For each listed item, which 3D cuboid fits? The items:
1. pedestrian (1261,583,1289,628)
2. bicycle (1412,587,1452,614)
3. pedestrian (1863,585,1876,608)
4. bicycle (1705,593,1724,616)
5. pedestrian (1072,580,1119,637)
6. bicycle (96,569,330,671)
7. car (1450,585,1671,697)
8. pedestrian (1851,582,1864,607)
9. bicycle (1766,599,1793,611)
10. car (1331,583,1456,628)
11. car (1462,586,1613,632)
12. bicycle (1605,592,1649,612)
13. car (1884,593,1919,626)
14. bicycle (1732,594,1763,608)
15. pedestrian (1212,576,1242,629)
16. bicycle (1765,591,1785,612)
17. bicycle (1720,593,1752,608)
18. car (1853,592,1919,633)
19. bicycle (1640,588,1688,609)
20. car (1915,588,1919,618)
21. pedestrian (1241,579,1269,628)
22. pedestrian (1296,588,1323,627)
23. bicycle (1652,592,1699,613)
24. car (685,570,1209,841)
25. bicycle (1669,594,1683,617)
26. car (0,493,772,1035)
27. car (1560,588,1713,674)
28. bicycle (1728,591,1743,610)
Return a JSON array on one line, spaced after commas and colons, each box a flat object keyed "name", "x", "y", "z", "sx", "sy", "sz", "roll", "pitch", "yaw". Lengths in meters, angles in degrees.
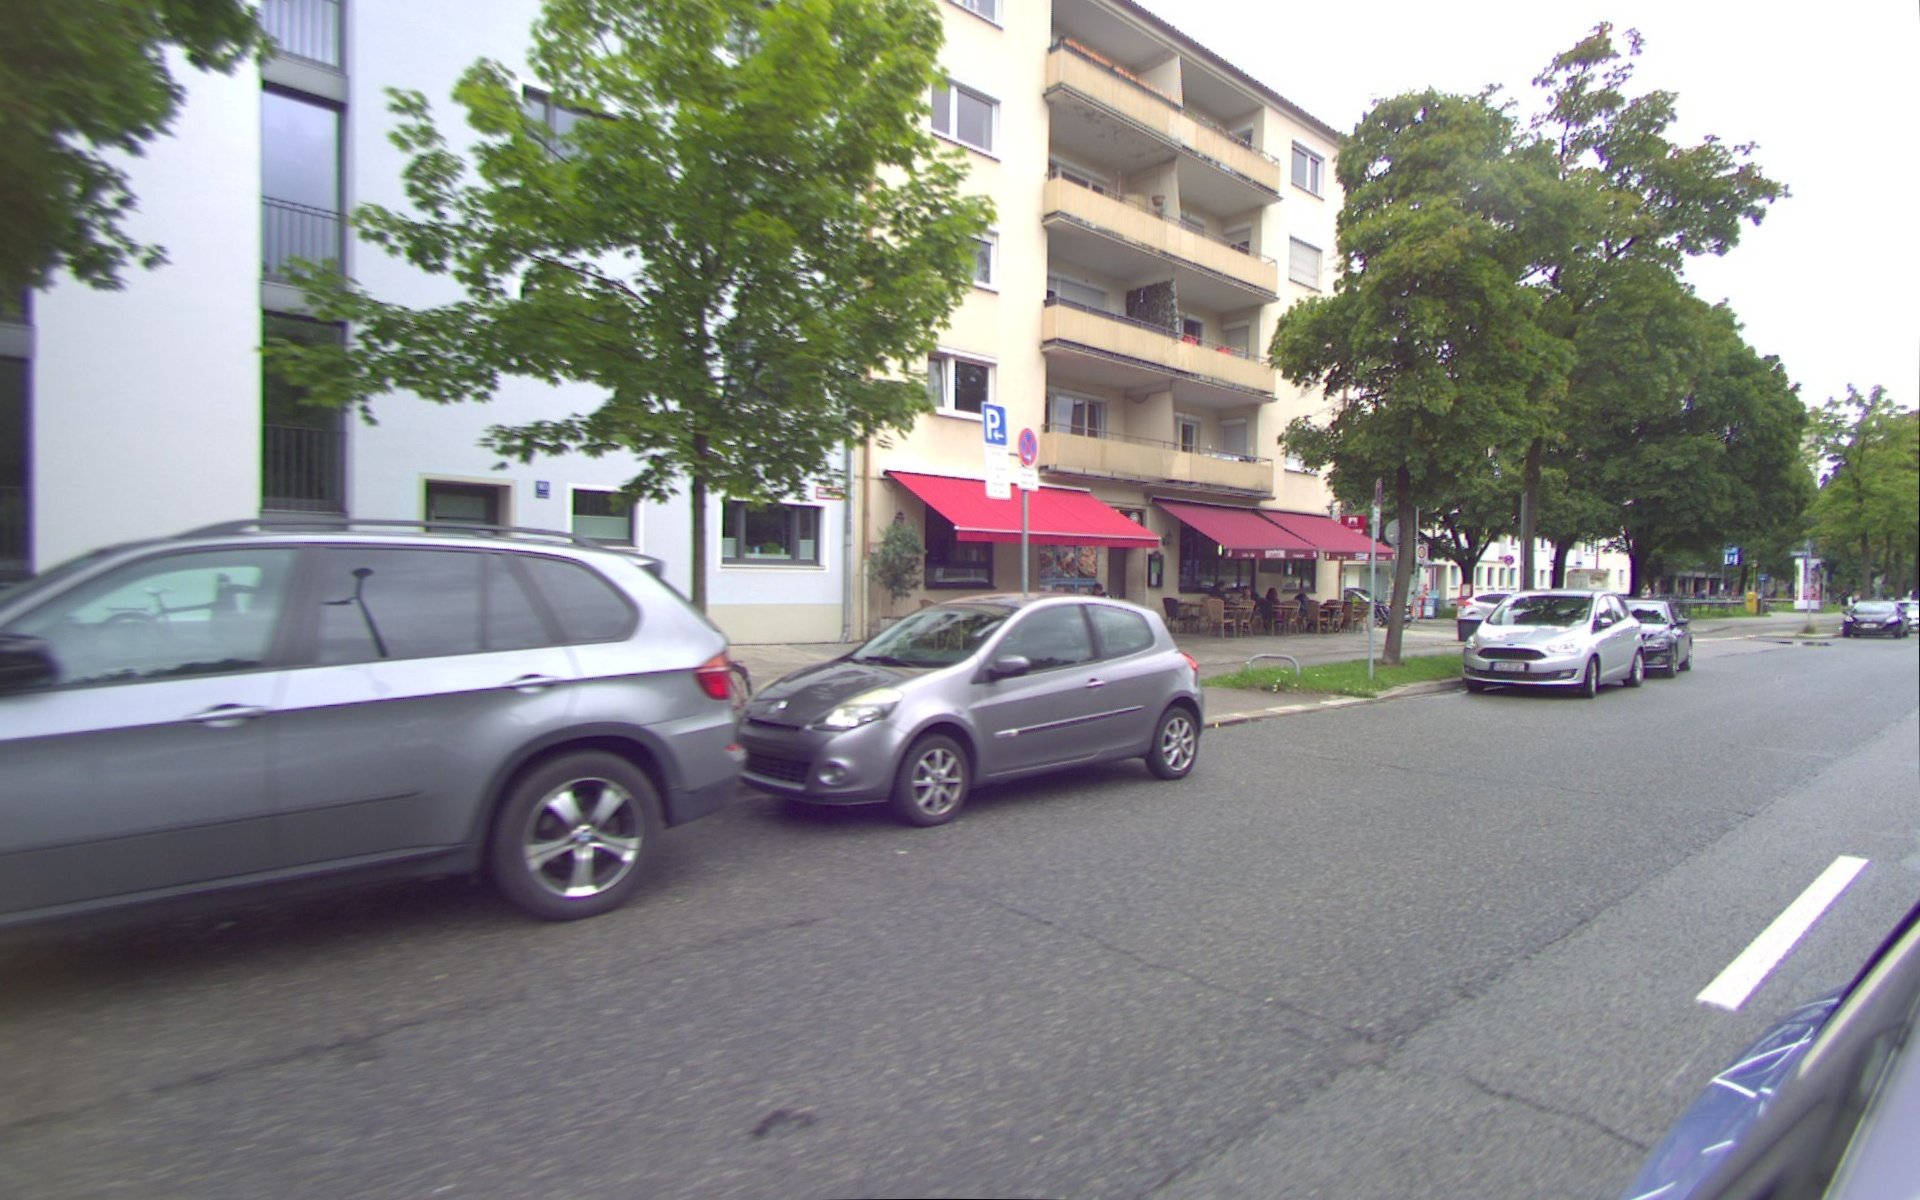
[{"name": "pedestrian", "x": 8.682, "y": 0.141, "z": 27.908, "sx": 0.478, "sy": 1.229, "sz": 0.539, "roll": 0, "pitch": 1, "yaw": -40}, {"name": "bicycle", "x": 21.475, "y": 0.002, "z": 46.048, "sx": 0.687, "sy": 1.170, "sz": 1.471, "roll": 0, "pitch": 1, "yaw": -42}, {"name": "pedestrian", "x": 65.886, "y": -0.274, "z": 73.306, "sx": 0.555, "sy": 1.624, "sz": 0.515, "roll": 1, "pitch": 1, "yaw": 30}, {"name": "bicycle", "x": 37.708, "y": 0.207, "z": 50.588, "sx": 0.469, "sy": 1.068, "sz": 1.739, "roll": 5, "pitch": 4, "yaw": 45}, {"name": "pedestrian", "x": 2.973, "y": 0.175, "z": 22.172, "sx": 0.635, "sy": 1.177, "sz": 0.745, "roll": 0, "pitch": 3, "yaw": -41}, {"name": "bicycle", "x": -8.699, "y": 0.204, "z": 11.855, "sx": 2.157, "sy": 1.059, "sz": 0.623, "roll": 0, "pitch": 5, "yaw": -41}, {"name": "car", "x": 9.749, "y": 0.555, "z": 16.275, "sx": 4.446, "sy": 1.541, "sz": 1.832, "roll": 0, "pitch": 1, "yaw": -42}, {"name": "pedestrian", "x": 65.375, "y": -0.418, "z": 73.724, "sx": 0.555, "sy": 1.777, "sz": 0.651, "roll": 1, "pitch": 1, "yaw": 30}, {"name": "bicycle", "x": 57.396, "y": 0.359, "z": 70.876, "sx": 0.490, "sy": 0.722, "sz": 1.390, "roll": 0, "pitch": 3, "yaw": -45}, {"name": "car", "x": 16.049, "y": 0.150, "z": 37.600, "sx": 1.701, "sy": 1.538, "sz": 3.931, "roll": 0, "pitch": 1, "yaw": -42}, {"name": "car", "x": 20.286, "y": 0.261, "z": 35.720, "sx": 1.960, "sy": 1.460, "sz": 4.226, "roll": 0, "pitch": 1, "yaw": -31}, {"name": "bicycle", "x": 38.475, "y": 0.109, "z": 58.410, "sx": 0.653, "sy": 1.081, "sz": 2.027, "roll": 0, "pitch": 1, "yaw": -44}, {"name": "car", "x": 43.521, "y": 0.416, "z": 45.956, "sx": 4.212, "sy": 1.455, "sz": 1.824, "roll": 0, "pitch": -1, "yaw": -41}, {"name": "bicycle", "x": 53.242, "y": 0.062, "z": 68.423, "sx": 0.490, "sy": 0.927, "sz": 1.596, "roll": 0, "pitch": 2, "yaw": -44}, {"name": "pedestrian", "x": 7.009, "y": 0.057, "z": 26.531, "sx": 0.543, "sy": 1.356, "sz": 0.539, "roll": 0, "pitch": 1, "yaw": -42}, {"name": "bicycle", "x": 48.266, "y": 0.070, "z": 59.927, "sx": 2.039, "sy": 1.203, "sz": 0.545, "roll": 0, "pitch": 1, "yaw": -40}, {"name": "bicycle", "x": 51.438, "y": 0.028, "z": 67.090, "sx": 0.490, "sy": 0.927, "sz": 1.595, "roll": 0, "pitch": 1, "yaw": -44}, {"name": "car", "x": 35.836, "y": 0.449, "z": 39.063, "sx": 3.888, "sy": 1.495, "sz": 1.646, "roll": 0, "pitch": 0, "yaw": -42}, {"name": "bicycle", "x": 38.032, "y": -0.102, "z": 54.690, "sx": 0.653, "sy": 1.081, "sz": 2.027, "roll": 0, "pitch": 1, "yaw": -44}, {"name": "car", "x": 50.980, "y": 0.162, "z": 52.447, "sx": 4.085, "sy": 1.530, "sz": 1.824, "roll": 0, "pitch": 1, "yaw": -41}, {"name": "pedestrian", "x": 7.956, "y": 0.082, "z": 27.264, "sx": 0.478, "sy": 1.284, "sz": 0.539, "roll": 0, "pitch": 1, "yaw": -42}, {"name": "pedestrian", "x": 9.942, "y": 0.207, "z": 28.792, "sx": 0.478, "sy": 1.067, "sz": 0.539, "roll": 0, "pitch": 1, "yaw": -40}, {"name": "bicycle", "x": 40.141, "y": 0.131, "z": 56.788, "sx": 0.653, "sy": 1.081, "sz": 2.027, "roll": 0, "pitch": 1, "yaw": -44}, {"name": "car", "x": 0.048, "y": 0.573, "z": 7.683, "sx": 3.706, "sy": 1.541, "sz": 1.832, "roll": 0, "pitch": 1, "yaw": -42}, {"name": "bicycle", "x": 33.204, "y": 0.237, "z": 46.933, "sx": 0.446, "sy": 1.028, "sz": 1.831, "roll": 1, "pitch": 1, "yaw": 34}, {"name": "car", "x": -3.230, "y": 0.510, "z": 4.412, "sx": 4.429, "sy": 1.768, "sz": 1.833, "roll": 0, "pitch": 1, "yaw": -41}, {"name": "car", "x": 13.272, "y": 0.526, "z": 19.779, "sx": 1.830, "sy": 1.491, "sz": 3.826, "roll": 2, "pitch": 1, "yaw": 44}, {"name": "bicycle", "x": 47.787, "y": 0.030, "z": 62.336, "sx": 1.231, "sy": 1.130, "sz": 0.466, "roll": 0, "pitch": 1, "yaw": -40}]
